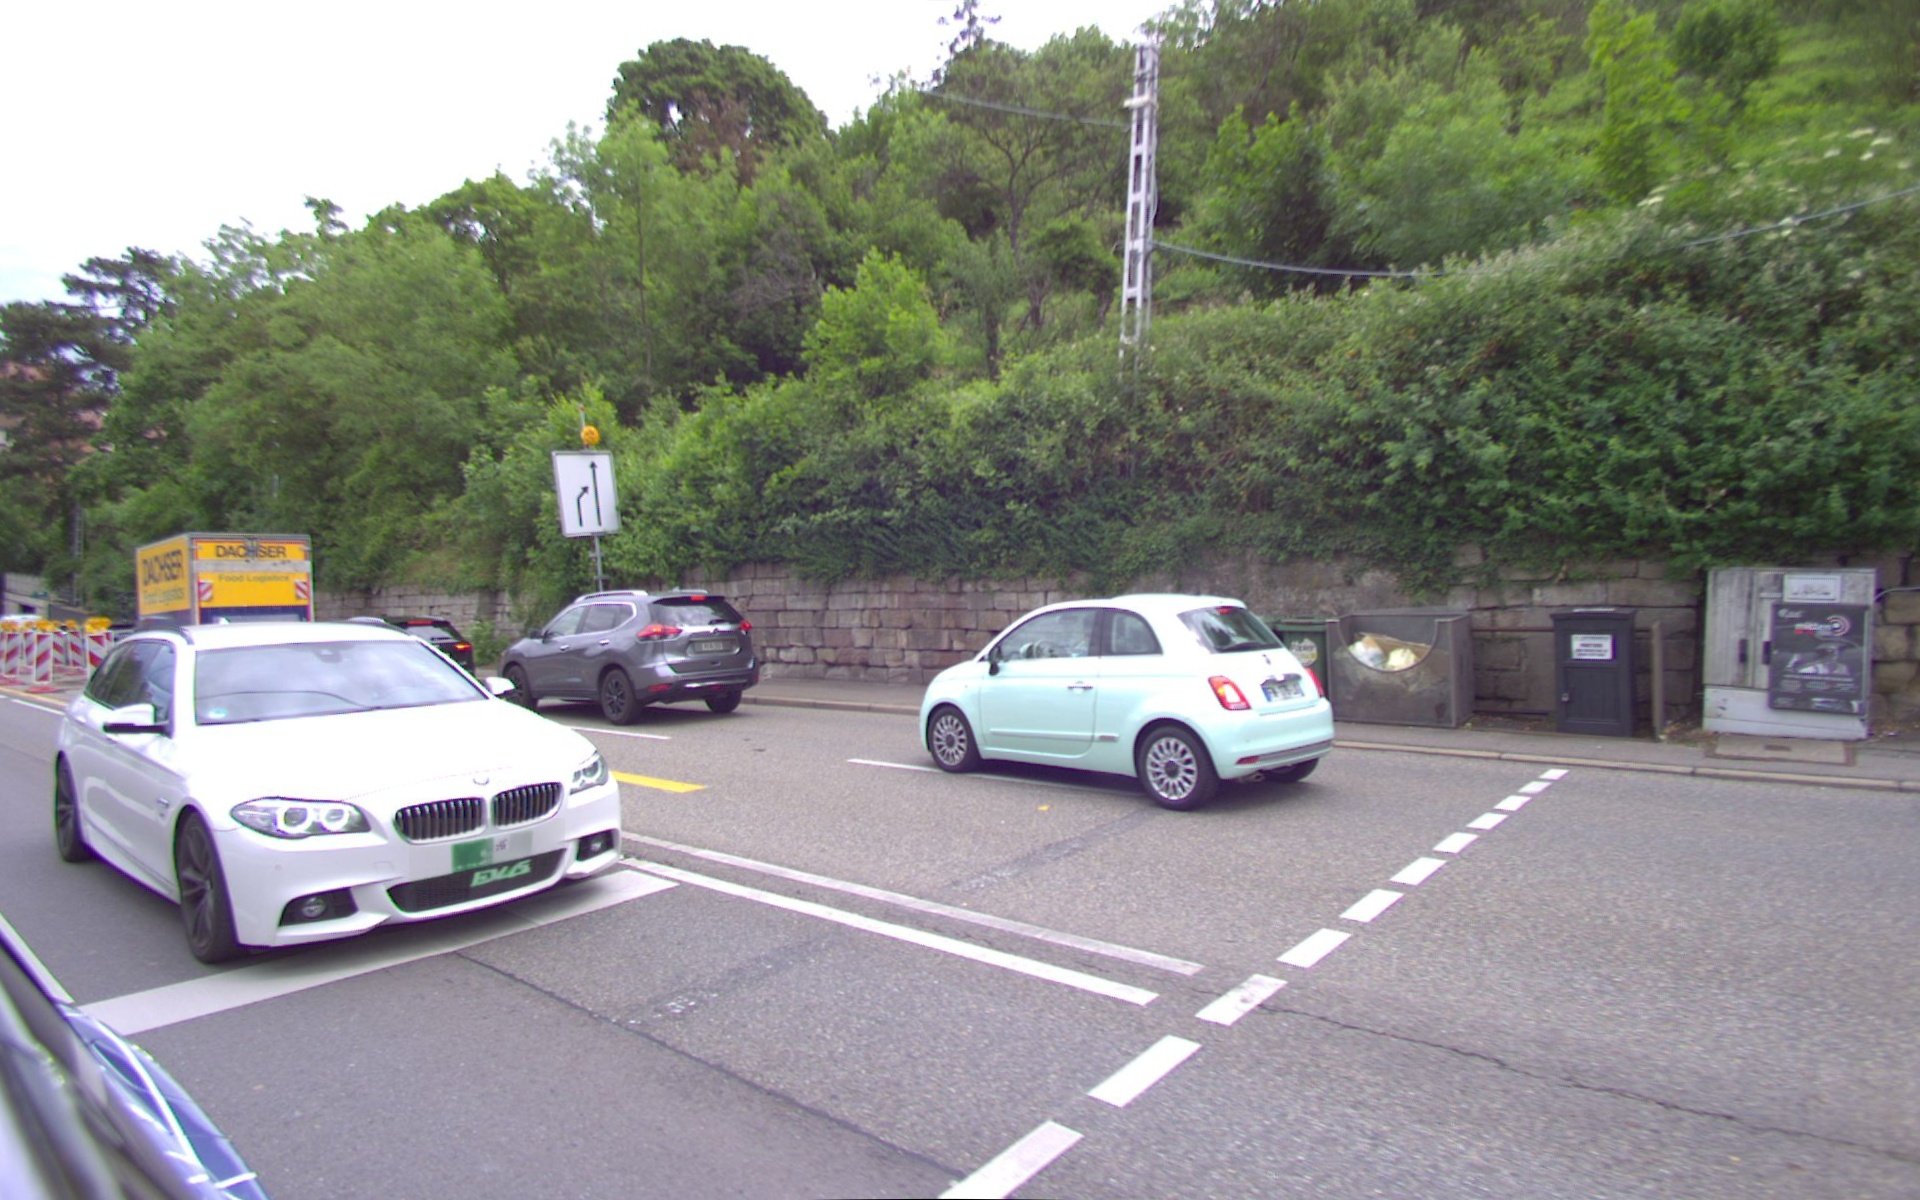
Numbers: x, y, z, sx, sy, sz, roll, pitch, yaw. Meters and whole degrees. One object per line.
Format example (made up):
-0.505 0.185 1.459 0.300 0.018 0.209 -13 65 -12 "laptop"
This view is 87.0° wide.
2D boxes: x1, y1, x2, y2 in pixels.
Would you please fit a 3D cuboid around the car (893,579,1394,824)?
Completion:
1.280 0.652 8.138 1.690 1.477 3.665 -2 0 -42 "car"

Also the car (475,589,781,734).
-4.774 0.778 14.190 4.667 1.710 1.864 -2 -1 40 "car"

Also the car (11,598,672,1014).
-3.933 0.802 5.988 4.874 1.478 1.830 -1 1 40 "car"

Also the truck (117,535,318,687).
-19.947 0.313 27.011 7.344 3.536 2.703 -1 -1 40 "truck"

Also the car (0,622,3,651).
-55.498 2.095 56.982 4.650 1.604 1.813 -1 1 40 "car"

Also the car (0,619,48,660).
-44.575 1.832 47.554 4.335 1.804 1.786 -1 1 37 "car"

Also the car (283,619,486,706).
-11.204 1.138 19.544 4.870 1.440 1.792 -2 0 40 "car"

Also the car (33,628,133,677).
-29.564 1.706 34.066 4.741 1.452 1.753 -1 1 40 "car"
